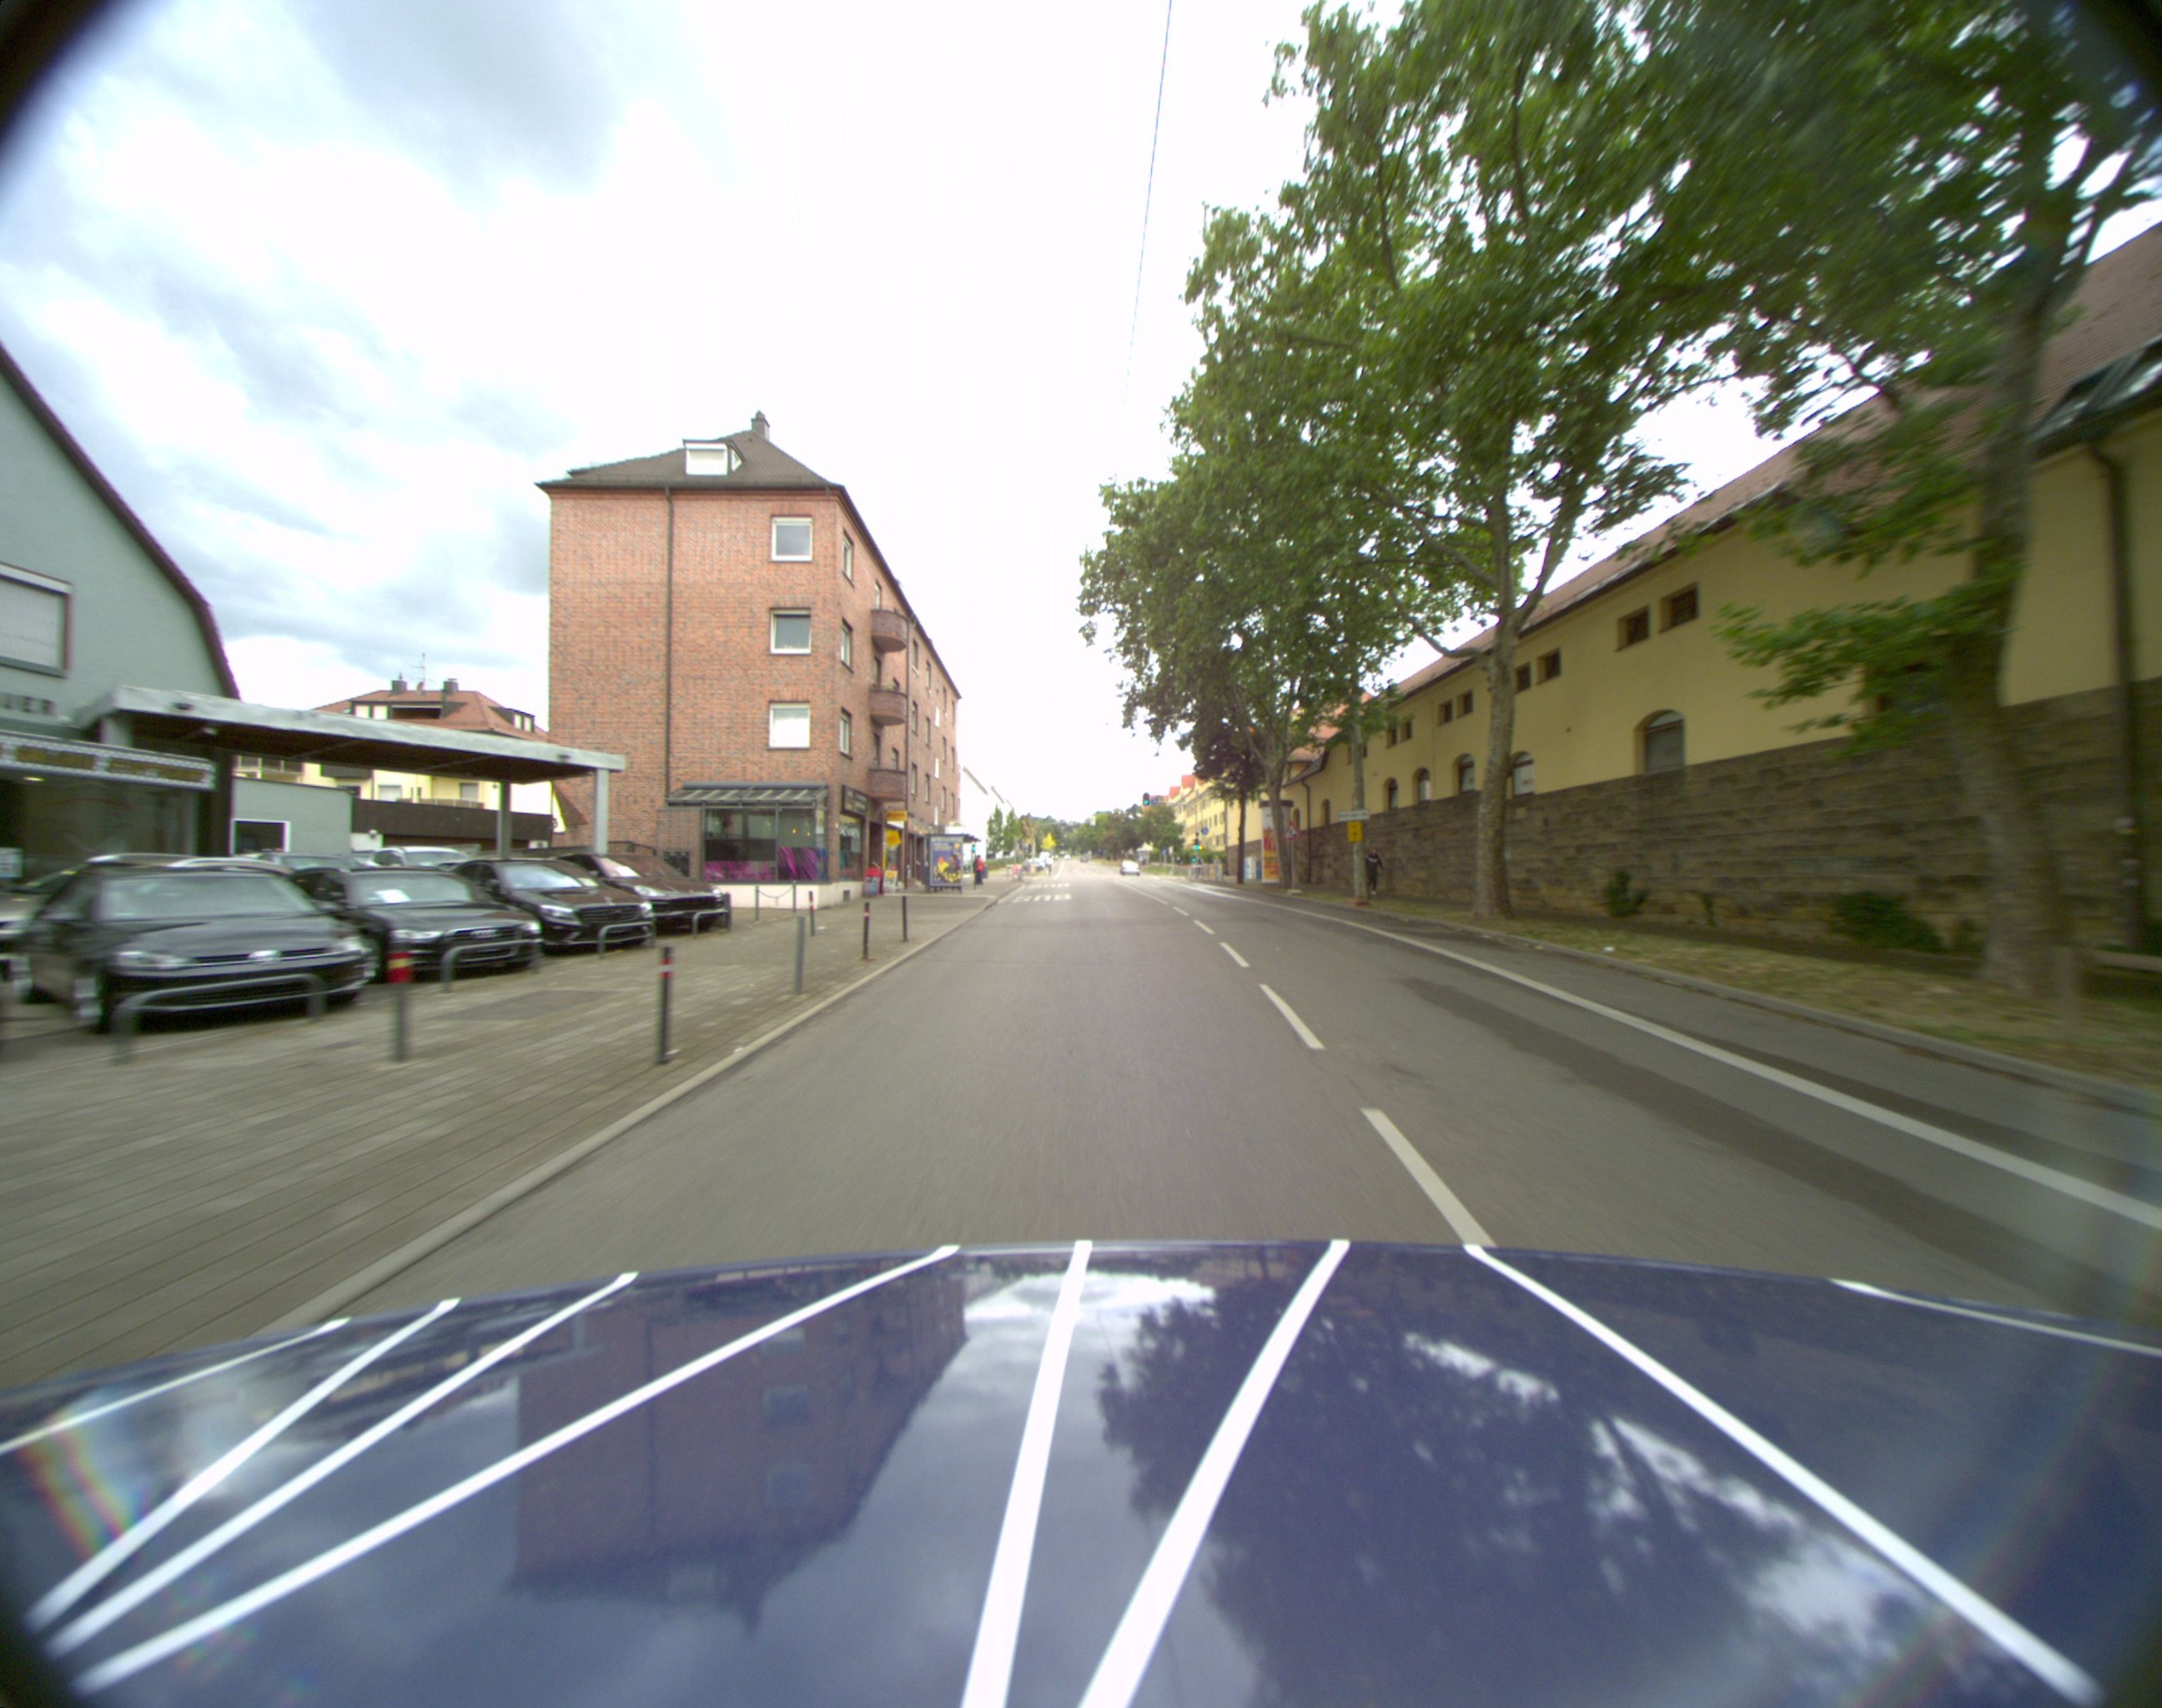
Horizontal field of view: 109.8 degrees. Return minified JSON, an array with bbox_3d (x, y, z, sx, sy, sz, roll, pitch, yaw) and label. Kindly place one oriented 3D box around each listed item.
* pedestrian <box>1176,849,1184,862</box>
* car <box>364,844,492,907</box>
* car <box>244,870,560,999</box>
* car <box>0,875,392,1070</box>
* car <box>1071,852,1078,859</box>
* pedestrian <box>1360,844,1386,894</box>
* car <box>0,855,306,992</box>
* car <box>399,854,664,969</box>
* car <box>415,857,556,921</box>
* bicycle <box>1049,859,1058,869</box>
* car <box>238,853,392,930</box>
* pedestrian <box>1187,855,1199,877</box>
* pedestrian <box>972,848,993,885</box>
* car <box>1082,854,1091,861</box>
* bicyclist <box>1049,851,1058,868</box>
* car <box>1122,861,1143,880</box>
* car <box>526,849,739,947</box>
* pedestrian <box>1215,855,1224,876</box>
[{"bbox_3d":[14.878,0.231,114.456,1.043,1.979,1.096,-2,1,1],"label":"pedestrian"},{"bbox_3d":[-17.628,0.571,20.506,3.269,1.561,1.563,-2,1,30],"label":"car"},{"bbox_3d":[-9.427,0.977,10.533,4.094,1.457,1.772,-1,0,25],"label":"car"},{"bbox_3d":[-9.145,0.992,7.751,4.034,1.475,1.802,-1,0,27],"label":"car"},{"bbox_3d":[-2.165,0.554,244.786,1.998,2.002,4.000,-2,1,3],"label":"car"},{"bbox_3d":[11.124,0.567,28.980,0.673,1.865,0.816,-1,1,1],"label":"pedestrian"},{"bbox_3d":[-13.300,0.827,10.686,1.695,1.592,3.620,-1,1,-15],"label":"car"},{"bbox_3d":[-9.435,0.917,13.049,3.990,1.663,1.927,-2,1,25],"label":"car"},{"bbox_3d":[-14.043,0.800,17.893,3.160,1.355,1.471,-2,1,30],"label":"car"},{"bbox_3d":[-2.777,0.996,77.406,0.368,0.986,1.723,-1,1,16],"label":"bicycle"},{"bbox_3d":[-17.470,0.823,17.302,3.616,1.578,1.557,-2,0,30],"label":"car"},{"bbox_3d":[9.055,0.978,61.378,0.854,1.677,0.931,-2,1,1],"label":"pedestrian"},{"bbox_3d":[-5.454,0.675,42.136,0.785,2.002,0.859,-1,1,20],"label":"pedestrian"},{"bbox_3d":[1.324,0.847,182.884,1.998,1.630,4.000,-2,1,2],"label":"car"},{"bbox_3d":[-2.805,0.551,77.419,0.681,1.619,0.751,-2,1,16],"label":"bicyclist"},{"bbox_3d":[5.093,1.630,74.803,1.919,1.640,3.634,-2,1,7],"label":"car"},{"bbox_3d":[-9.359,0.862,15.863,3.927,1.787,1.955,-2,1,27],"label":"car"},{"bbox_3d":[11.063,0.885,60.655,0.625,1.653,0.549,-2,1,1],"label":"pedestrian"}]
